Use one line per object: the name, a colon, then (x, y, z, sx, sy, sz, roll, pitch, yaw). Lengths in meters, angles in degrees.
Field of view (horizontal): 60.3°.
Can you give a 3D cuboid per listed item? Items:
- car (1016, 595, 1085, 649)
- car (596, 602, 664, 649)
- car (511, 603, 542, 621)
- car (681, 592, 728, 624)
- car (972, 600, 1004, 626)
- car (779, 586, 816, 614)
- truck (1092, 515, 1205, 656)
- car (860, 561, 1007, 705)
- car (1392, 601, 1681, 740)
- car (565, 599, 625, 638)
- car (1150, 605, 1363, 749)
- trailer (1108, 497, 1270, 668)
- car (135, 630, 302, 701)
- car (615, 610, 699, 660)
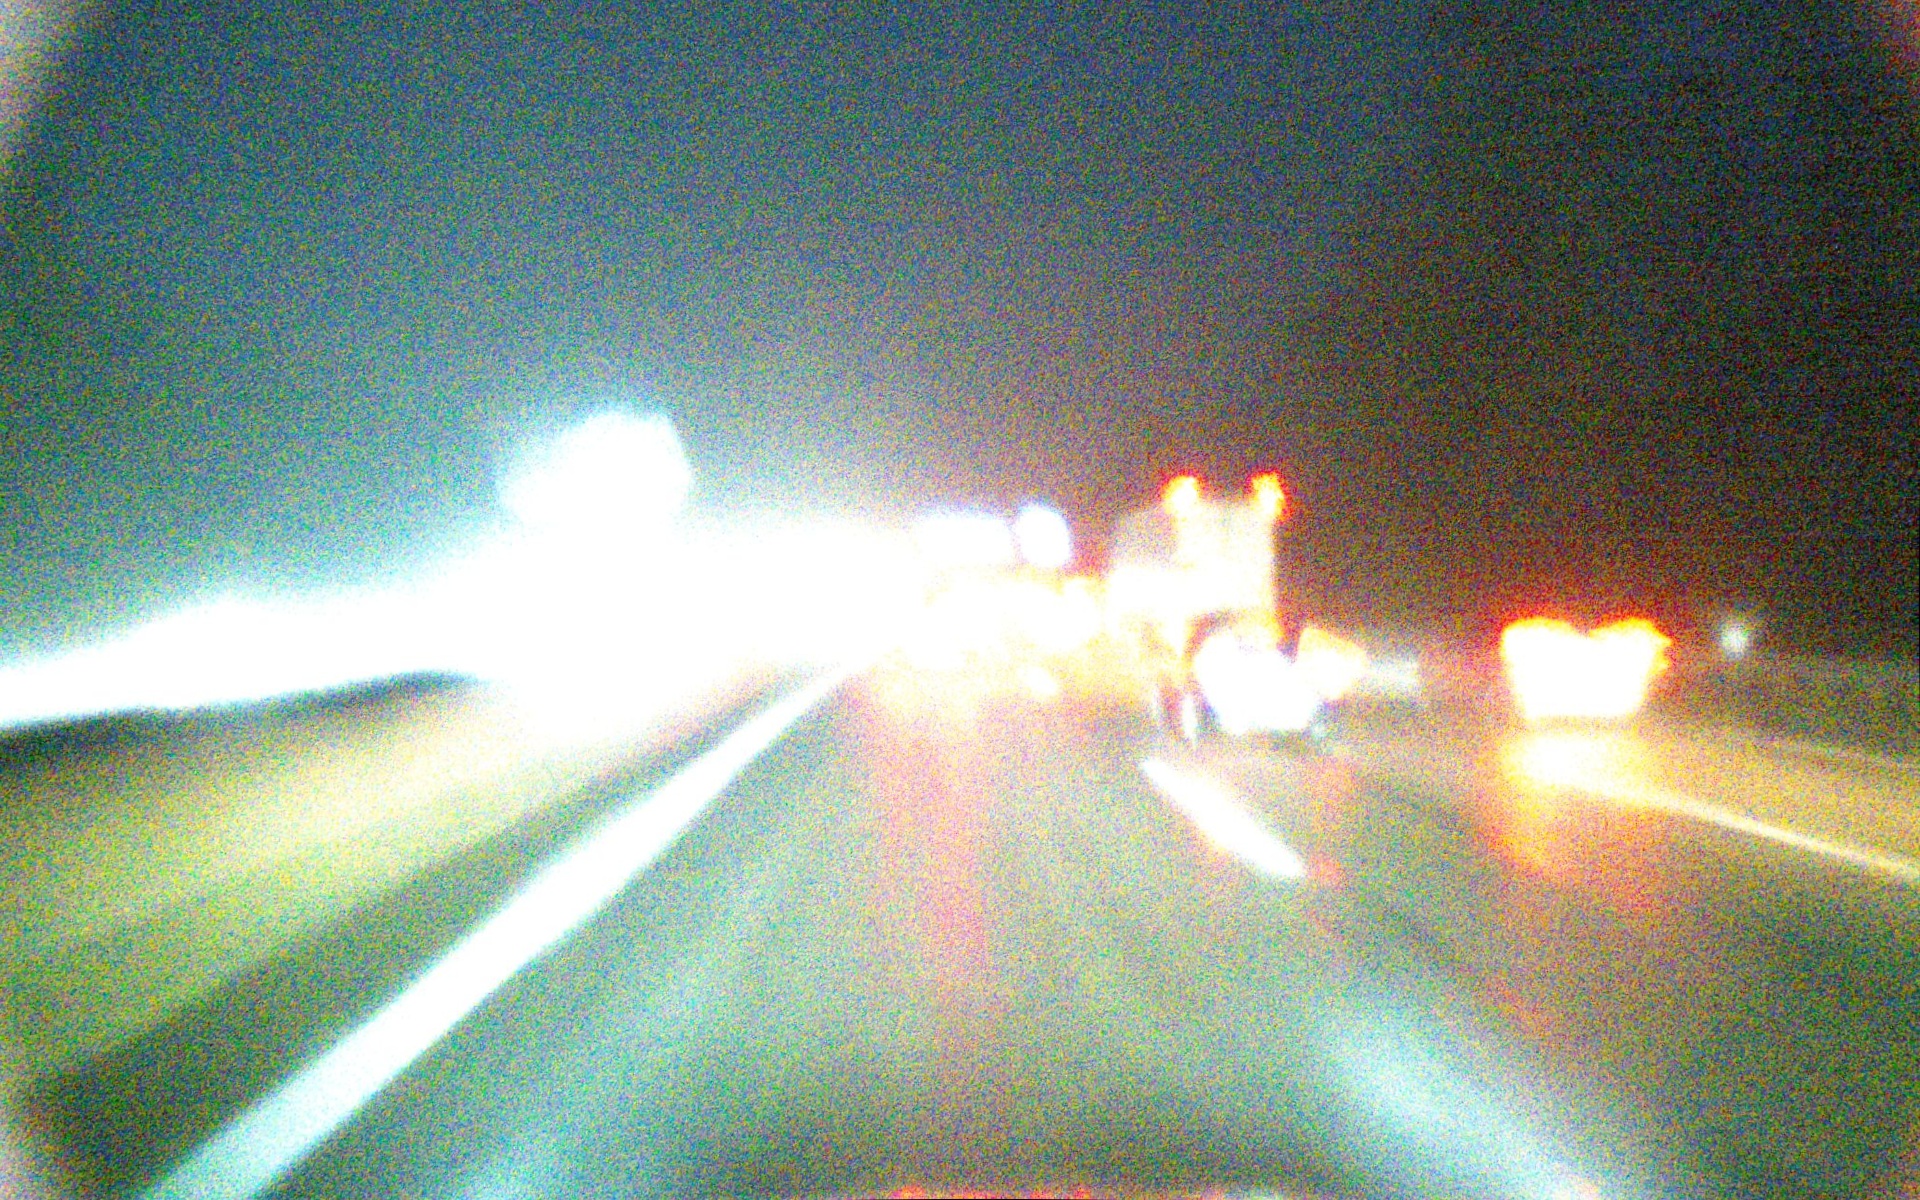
car: (2.805, 0.664, 52.016, 1.846, 1.616, 3.999, 1, 0, -1)
car: (-12.379, 0.926, 62.324, 1.616, 1.609, 5.127, 0, 1, -1)
car: (-36.765, 1.034, 140.364, 1.826, 1.497, 4.349, 1, 0, -5)
car: (-14.002, 0.416, 90.784, 1.953, 1.645, 4.744, -2, 0, -2)
car: (1.877, 0.880, 112.054, 2.093, 1.646, 4.000, 1, 0, 0)
car: (-10.091, -0.031, 102.690, 1.953, 1.645, 4.416, -2, 0, -2)
truck: (6.159, -0.463, 55.118, 2.747, 4.341, 7.446, 1, 0, -1)
car: (-0.614, 0.584, 33.568, 2.655, 2.578, 5.828, -2, 1, -3)
car: (7.258, 0.812, 21.442, 1.856, 1.512, 4.960, 1, 1, -2)
car: (-16.718, 0.837, 75.958, 1.834, 1.645, 4.500, -2, 0, -2)
car: (3.217, 0.788, 18.615, 1.580, 1.437, 3.790, 1, 0, -2)
trailer: (6.330, -0.453, 47.879, 2.747, 4.286, 12.093, 1, 0, -1)
car: (-16.475, 1.418, 37.010, 1.923, 1.368, 4.286, 0, 1, -2)
car: (-9.250, 1.044, 50.756, 1.923, 1.368, 4.286, 0, 1, -2)
